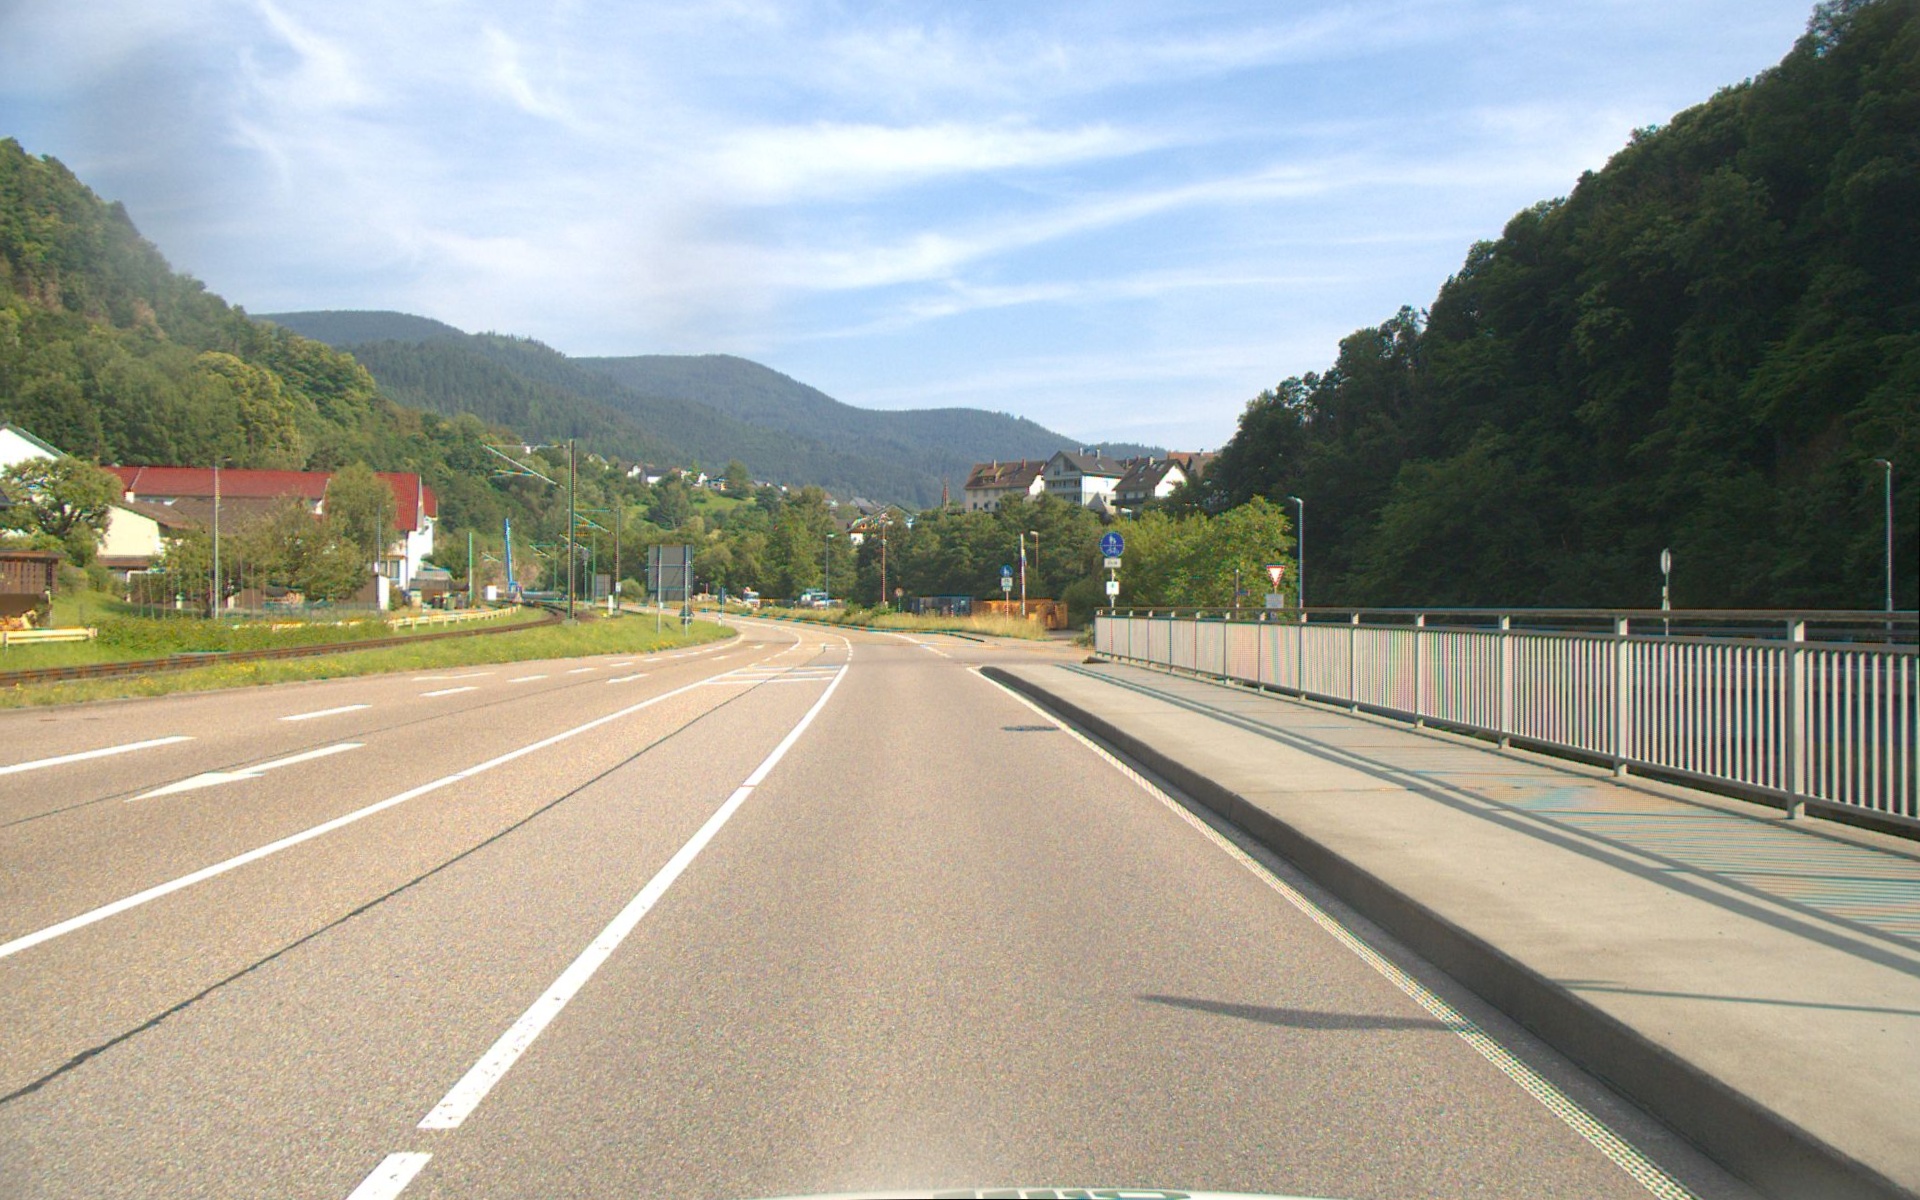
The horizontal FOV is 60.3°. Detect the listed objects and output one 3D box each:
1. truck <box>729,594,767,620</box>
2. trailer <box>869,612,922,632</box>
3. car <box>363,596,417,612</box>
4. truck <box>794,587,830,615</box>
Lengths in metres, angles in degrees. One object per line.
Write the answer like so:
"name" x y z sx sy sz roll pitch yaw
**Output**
"truck" -32.800 1.017 255.590 3.068 3.848 8.564 1 0 -28
"trailer" -5.731 1.920 144.194 2.744 1.500 9.853 2 -1 -13
"car" -46.943 0.332 136.266 4.024 1.293 1.731 0 0 -13
"truck" -21.618 0.151 241.124 3.057 3.848 8.596 1 0 -19
